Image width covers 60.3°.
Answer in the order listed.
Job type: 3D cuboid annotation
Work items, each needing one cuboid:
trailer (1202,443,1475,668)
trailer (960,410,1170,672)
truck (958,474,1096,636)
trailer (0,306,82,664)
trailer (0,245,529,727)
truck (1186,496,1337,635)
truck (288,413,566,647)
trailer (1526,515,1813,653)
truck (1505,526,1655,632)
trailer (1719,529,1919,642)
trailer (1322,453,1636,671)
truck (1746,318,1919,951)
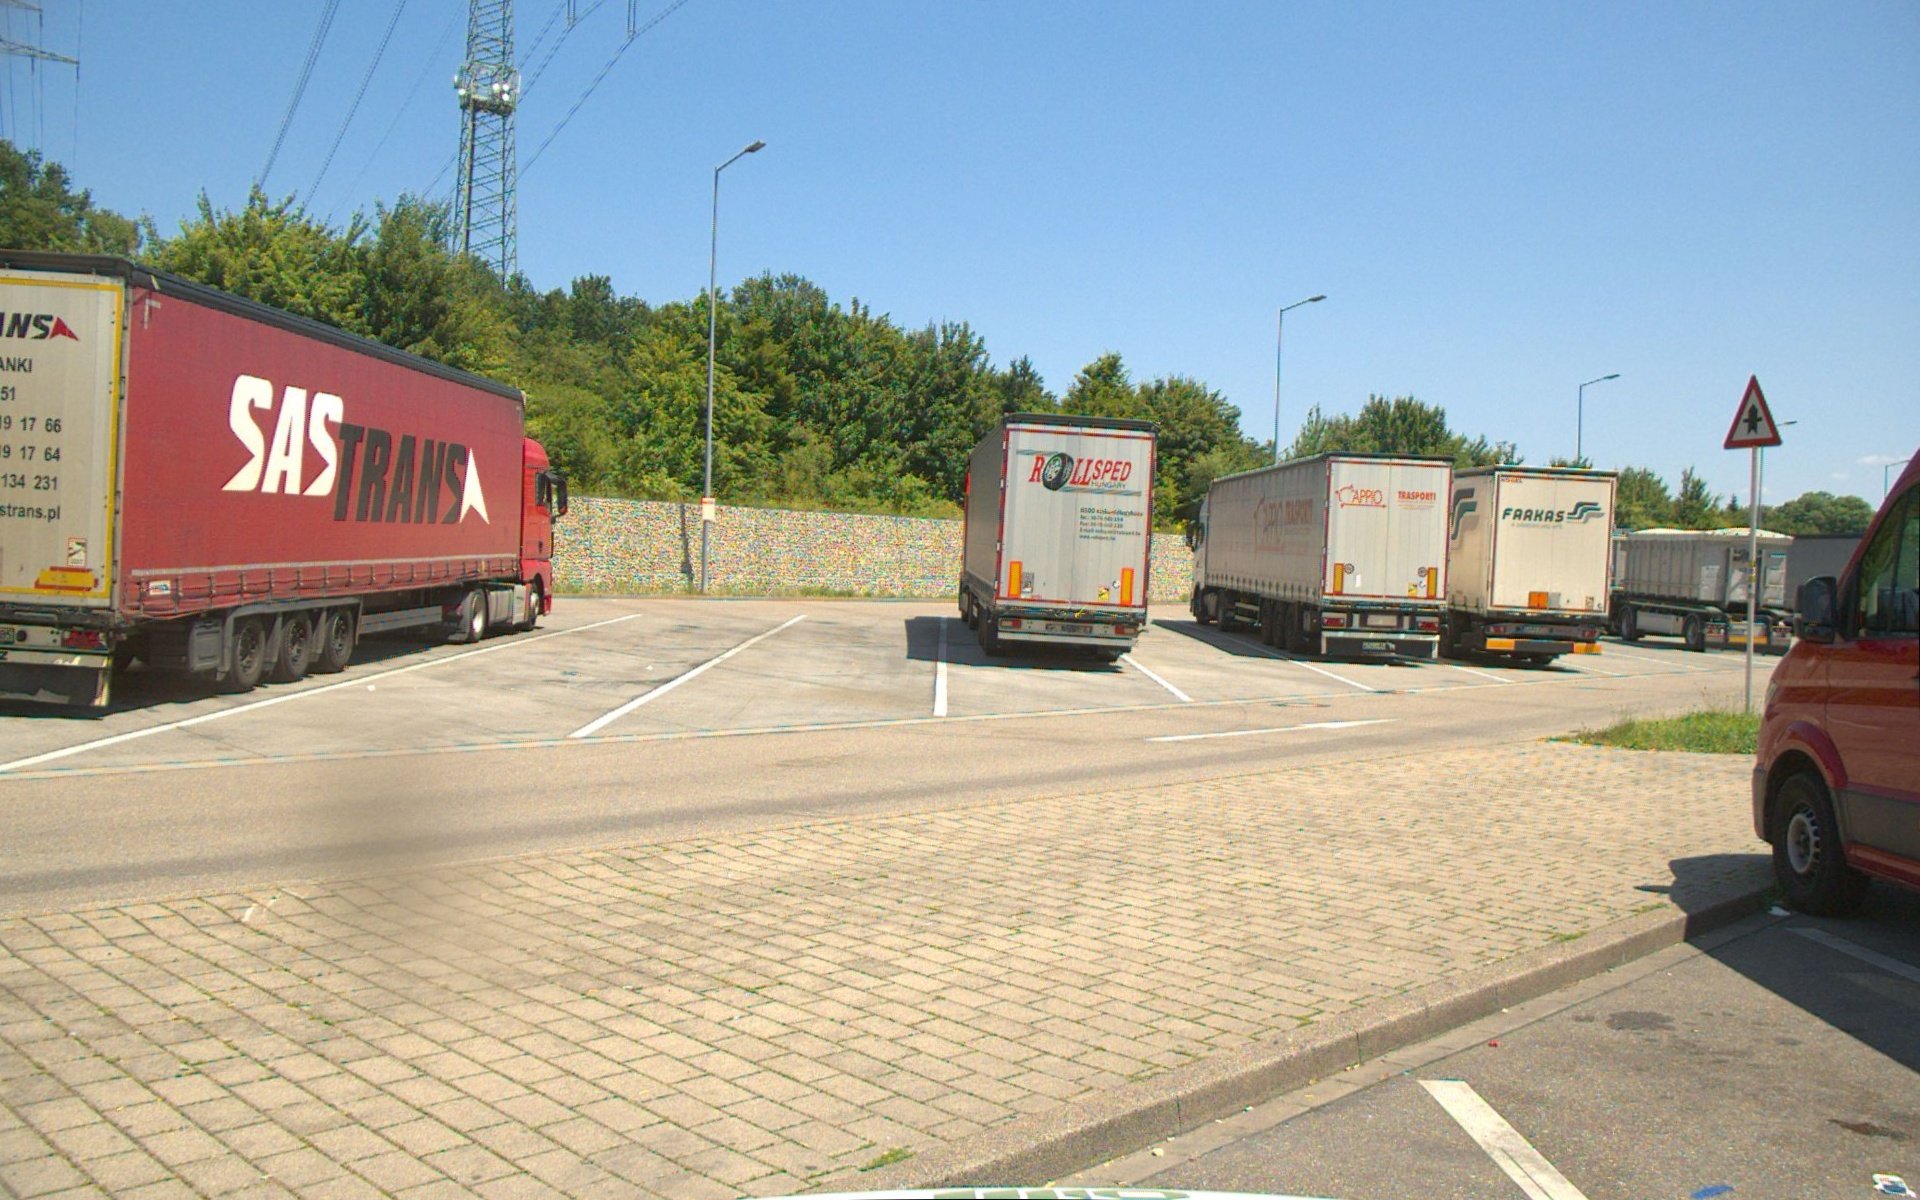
[{"bbox_3d":[8.245,-1.102,38.512,2.800,4.180,13.762,2,2,-1],"label":"trailer"},{"bbox_3d":[1.672,-1.175,33.159,2.800,4.040,13.761,2,2,-2],"label":"trailer"},{"bbox_3d":[1.471,-1.092,39.356,2.808,3.421,5.974,2,2,-1],"label":"truck"},{"bbox_3d":[-12.490,-1.257,15.803,2.651,4.173,10.389,2,2,-1],"label":"trailer"},{"bbox_3d":[-8.693,-1.269,21.260,2.764,4.141,13.763,2,2,-1],"label":"trailer"},{"bbox_3d":[8.122,-0.985,45.275,2.808,3.421,5.974,2,2,-1],"label":"truck"},{"bbox_3d":[-8.803,-1.162,28.076,2.755,3.421,5.974,2,2,-1],"label":"truck"},{"bbox_3d":[21.831,-0.682,52.257,2.800,3.662,13.762,2,2,-1],"label":"trailer"},{"bbox_3d":[21.732,-0.796,58.352,2.808,3.421,5.974,2,2,-1],"label":"truck"},{"bbox_3d":[34.782,-0.711,65.457,2.800,3.972,13.762,2,2,-1],"label":"trailer"},{"bbox_3d":[11.765,-0.991,39.577,2.800,4.180,13.762,2,2,-1],"label":"trailer"},{"bbox_3d":[4.992,0.159,5.528,1.969,2.697,6.457,1,0,3],"label":"truck"}]
